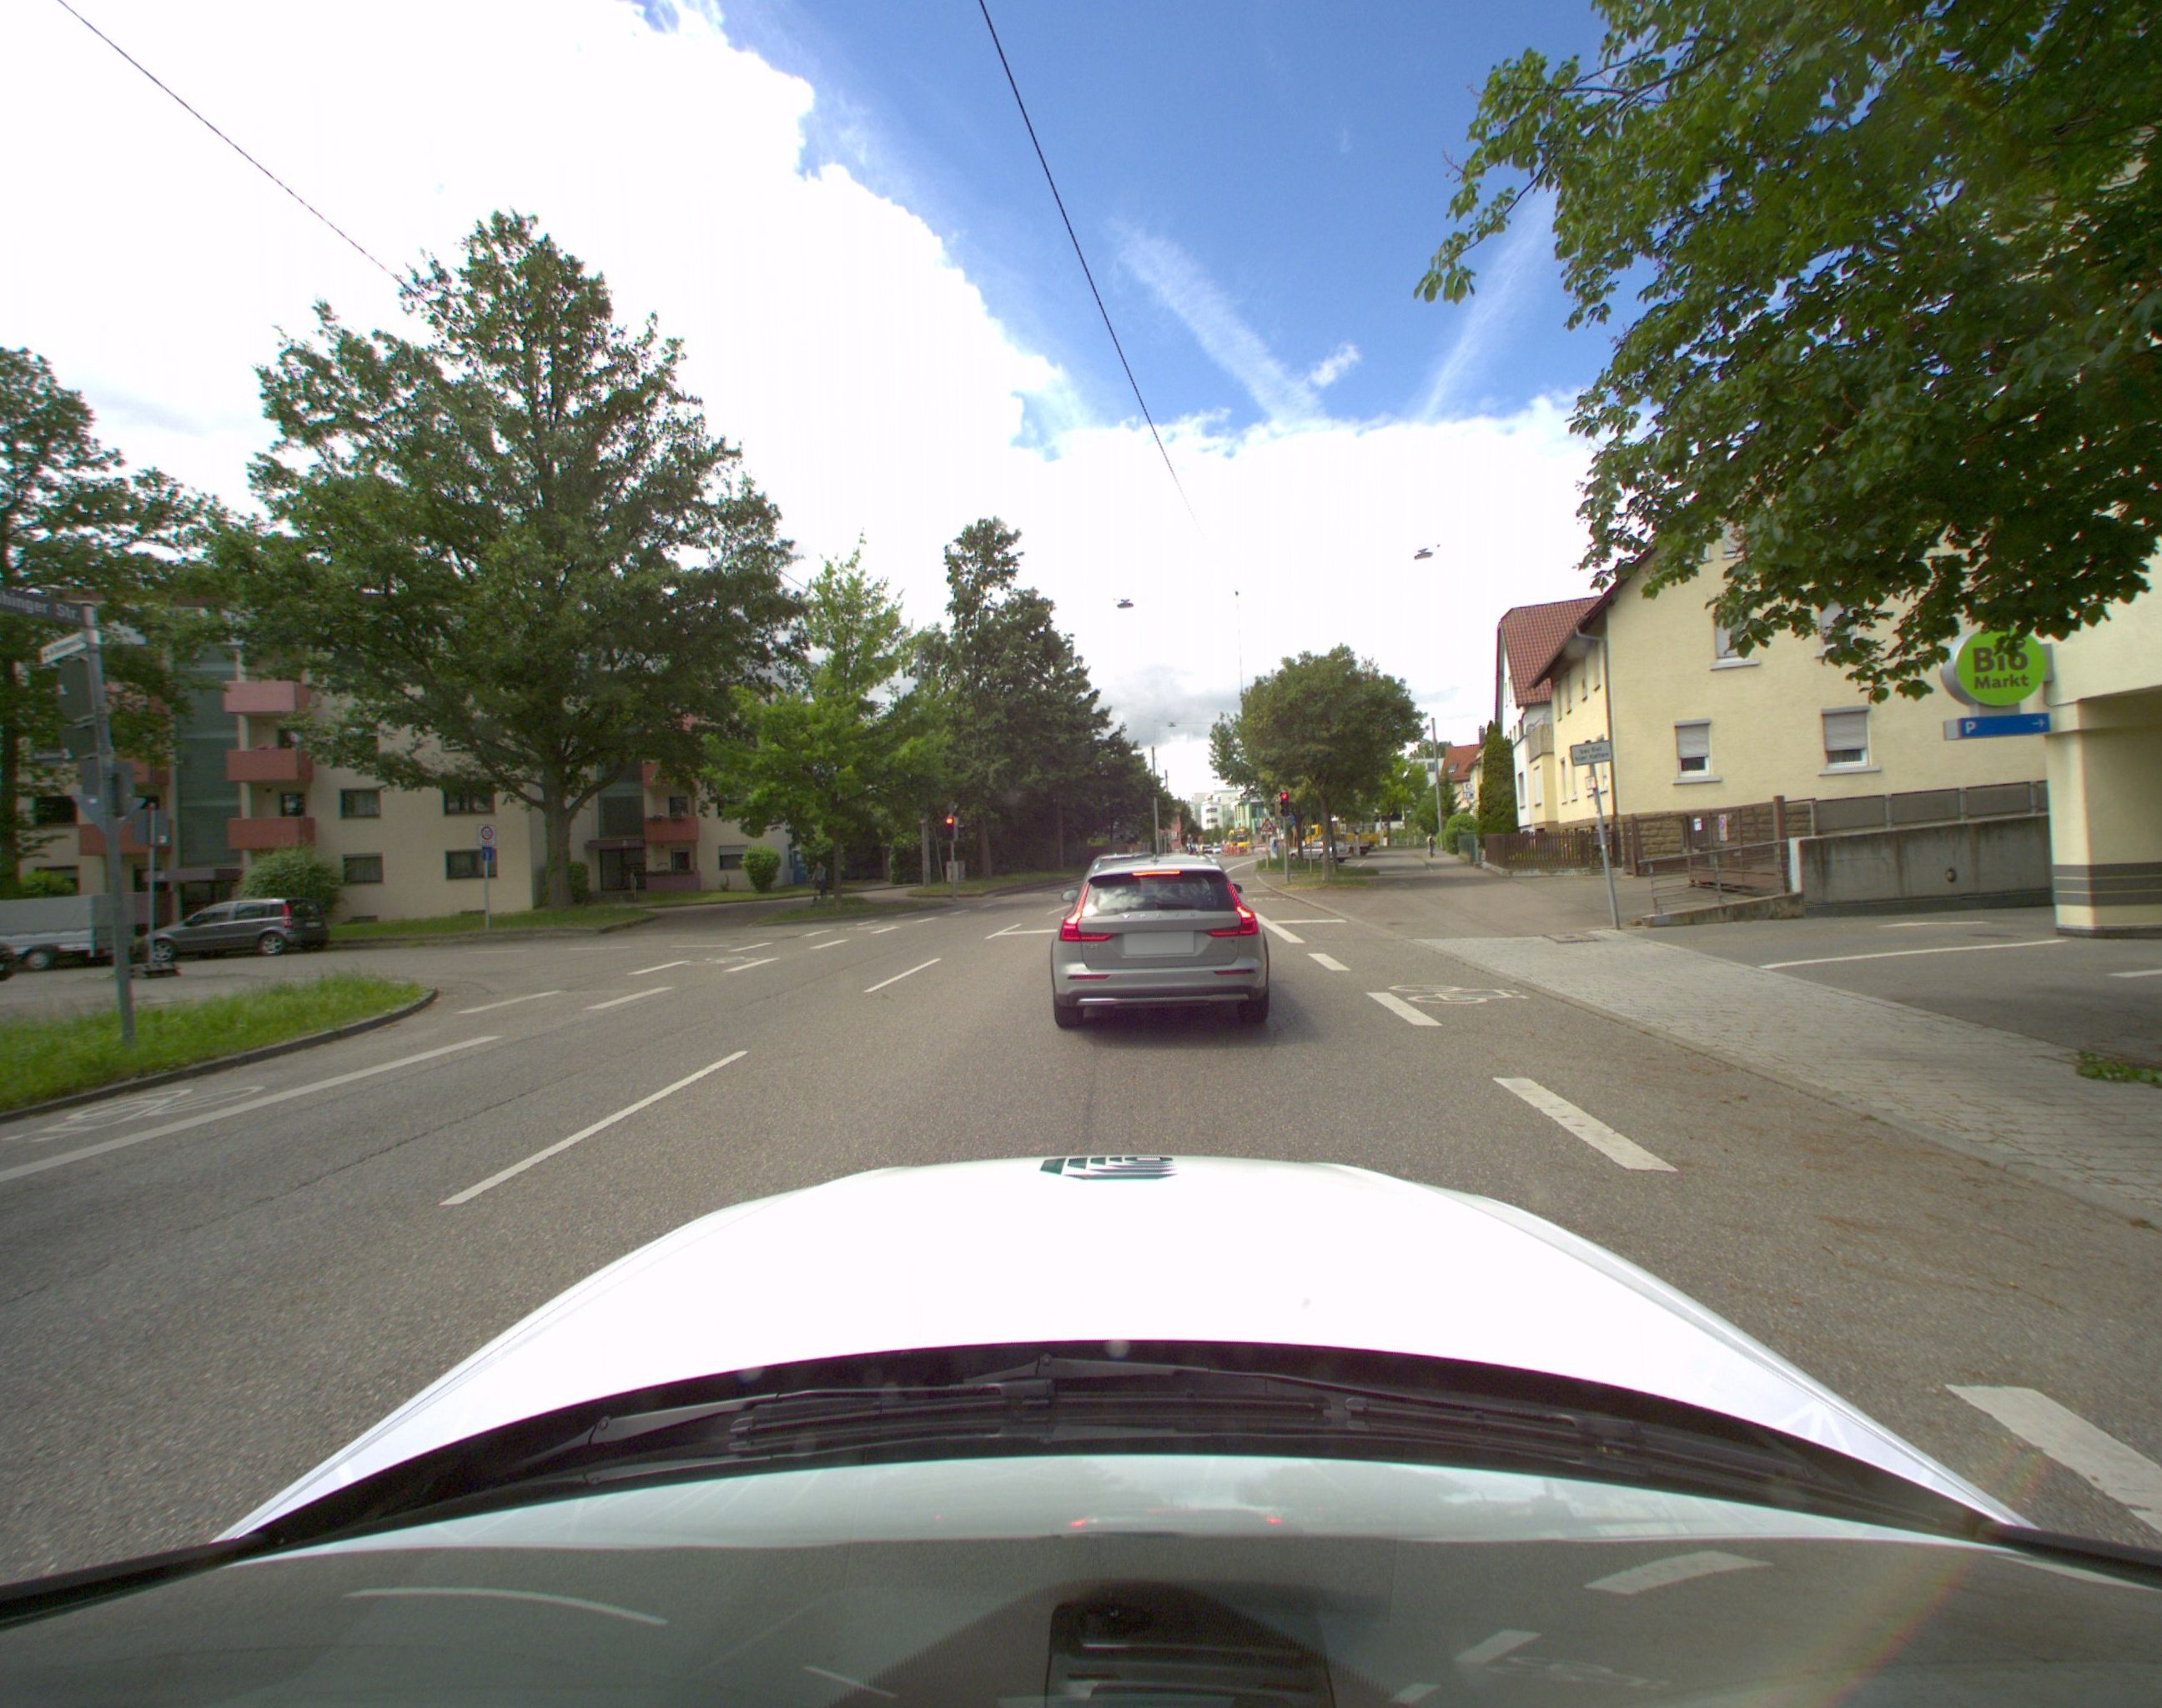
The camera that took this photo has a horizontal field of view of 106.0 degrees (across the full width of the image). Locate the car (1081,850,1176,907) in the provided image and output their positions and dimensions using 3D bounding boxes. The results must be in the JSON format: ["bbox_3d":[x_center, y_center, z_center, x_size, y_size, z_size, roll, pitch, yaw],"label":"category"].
[{"bbox_3d":[1.485,0.674,23.837,2.088,1.510,4.014,-1,-1,13],"label":"car"}]

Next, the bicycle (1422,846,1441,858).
[{"bbox_3d":[24.320,-0.154,56.487,0.592,0.812,1.754,0,0,2],"label":"bicycle"}]

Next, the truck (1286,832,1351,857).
[{"bbox_3d":[20.126,-0.796,69.341,2.004,2.014,5.629,0,-1,-26],"label":"truck"}]

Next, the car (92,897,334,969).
[{"bbox_3d":[-22.670,2.028,21.456,3.995,1.452,1.687,-3,0,-16],"label":"car"}]

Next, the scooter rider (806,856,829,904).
[{"bbox_3d":[-11.070,1.089,34.256,0.674,2.014,0.794,0,-1,2],"label":"scooter rider"}]

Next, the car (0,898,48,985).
[{"bbox_3d":[-19.922,1.476,12.958,4.140,1.398,1.731,0,-1,-11],"label":"car"}]

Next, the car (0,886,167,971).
[{"bbox_3d":[-26.955,1.978,21.055,3.989,1.844,1.839,-5,0,-11],"label":"car"}]

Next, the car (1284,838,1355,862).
[{"bbox_3d":[15.972,-0.243,54.768,1.773,1.451,4.645,-2,0,-29],"label":"car"}]

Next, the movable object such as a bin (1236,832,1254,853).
[{"bbox_3d":[22.139,-1.554,109.574,2.020,2.642,5.962,-3,0,14],"label":"movable object such as a bin"}]

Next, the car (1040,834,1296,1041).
[{"bbox_3d":[0.719,0.655,8.225,1.921,1.540,4.001,-1,-1,1],"label":"car"}]

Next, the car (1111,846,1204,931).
[{"bbox_3d":[1.532,0.626,16.410,1.653,1.508,3.707,0,0,5],"label":"car"}]

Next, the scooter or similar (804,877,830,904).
[{"bbox_3d":[-11.099,1.531,34.250,0.754,1.083,0.945,0,-1,2],"label":"scooter or similar"}]

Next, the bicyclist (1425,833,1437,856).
[{"bbox_3d":[24.315,-0.667,56.562,0.587,1.559,0.567,0,-1,1],"label":"bicyclist"}]

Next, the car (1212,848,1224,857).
[{"bbox_3d":[22.834,-0.187,136.016,1.816,1.330,4.012,-1,-2,12],"label":"car"}]
